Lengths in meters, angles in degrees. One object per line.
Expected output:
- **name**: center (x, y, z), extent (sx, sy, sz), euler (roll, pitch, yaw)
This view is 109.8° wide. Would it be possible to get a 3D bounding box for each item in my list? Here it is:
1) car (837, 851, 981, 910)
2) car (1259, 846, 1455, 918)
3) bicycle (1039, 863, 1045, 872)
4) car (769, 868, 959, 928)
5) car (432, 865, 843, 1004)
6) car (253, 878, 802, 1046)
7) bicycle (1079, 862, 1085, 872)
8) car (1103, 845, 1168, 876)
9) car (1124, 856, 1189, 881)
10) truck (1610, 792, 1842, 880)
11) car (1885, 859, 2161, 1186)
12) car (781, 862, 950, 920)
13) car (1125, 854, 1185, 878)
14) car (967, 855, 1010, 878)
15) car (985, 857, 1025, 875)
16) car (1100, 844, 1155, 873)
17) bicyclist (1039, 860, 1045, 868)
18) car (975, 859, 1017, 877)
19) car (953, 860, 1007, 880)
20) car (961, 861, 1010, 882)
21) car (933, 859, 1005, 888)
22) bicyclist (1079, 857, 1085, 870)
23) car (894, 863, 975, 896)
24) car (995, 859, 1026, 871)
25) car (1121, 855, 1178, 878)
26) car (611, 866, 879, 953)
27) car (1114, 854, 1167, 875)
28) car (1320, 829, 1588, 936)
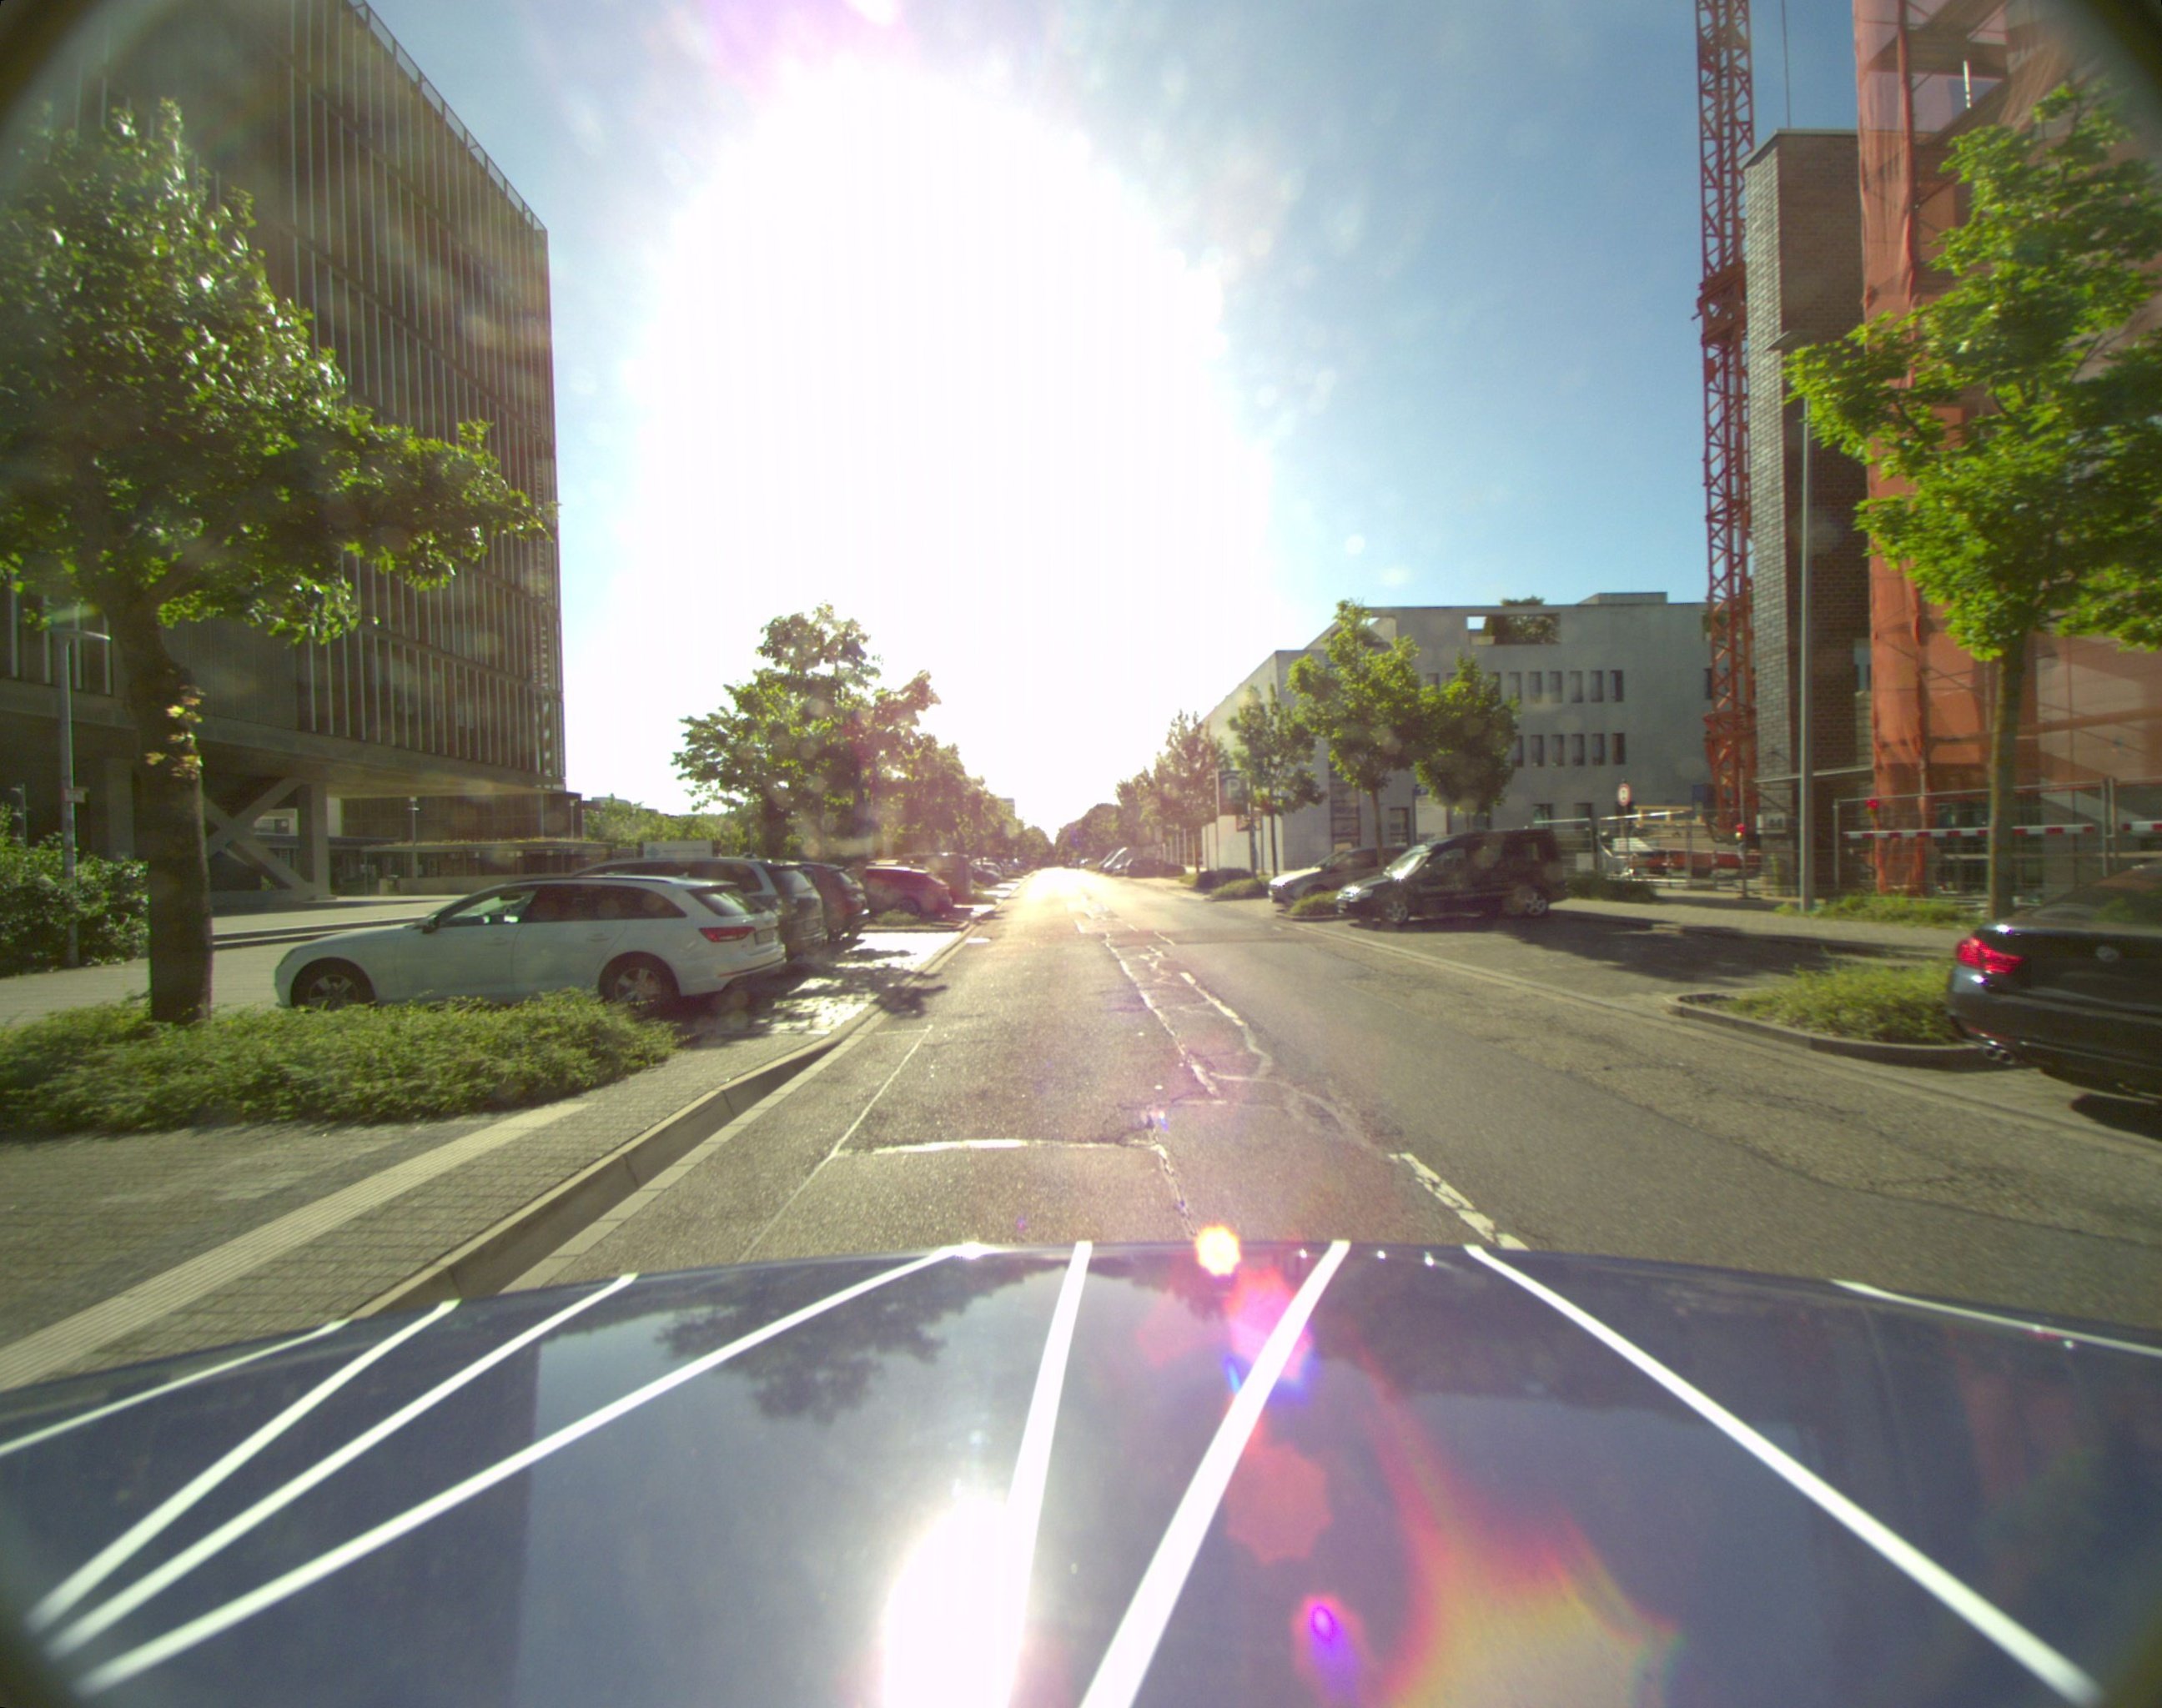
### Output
- **car**: center (-5.734, 0.860, 25.759), extent (4.414, 1.881, 2.074), euler (-1, 0, -2)
- **car**: center (7.090, 0.693, 19.795), extent (4.396, 1.505, 1.693), euler (-4, 0, 0)
- **bicycle**: center (-5.477, 1.827, 106.769), extent (0.792, 1.215, 2.262), euler (-1, 0, -1)
- **car**: center (-5.548, 1.111, 19.935), extent (4.414, 1.401, 2.074), euler (-1, 0, -2)
- **car**: center (-5.819, 1.008, 10.498), extent (4.414, 1.631, 2.074), euler (-1, 0, -2)
- **car**: center (-5.551, 1.046, 8.132), extent (4.414, 1.454, 1.895), euler (-1, 0, -2)
- **bicycle**: center (0.128, 1.668, 99.585), extent (0.792, 1.215, 2.262), euler (-1, 0, -1)
- **car**: center (4.928, 0.574, 69.098), extent (5.584, 2.468, 2.010), euler (-4, 0, 0)
- **car**: center (5.395, 1.018, 54.603), extent (4.316, 1.505, 1.718), euler (-4, 0, -3)
- **truck**: center (21.431, -0.580, 25.439), extent (5.857, 2.715, 2.269), euler (-1, 0, 0)
- **car**: center (7.284, 0.725, 3.933), extent (4.398, 1.423, 1.976), euler (-4, 0, -6)
- **car**: center (-6.254, 1.061, 22.470), extent (4.414, 1.548, 2.074), euler (-1, 0, -2)
- **car**: center (5.721, 0.900, 59.183), extent (4.316, 1.574, 1.693), euler (-4, 0, -3)
- **car**: center (-7.670, 1.019, 63.260), extent (3.391, 1.877, 1.696), euler (-1, 0, -3)
- **car**: center (-7.294, 1.107, 72.777), extent (3.718, 1.662, 1.676), euler (-1, 0, -3)
- **car**: center (4.886, 0.463, 80.999), extent (5.584, 2.622, 2.010), euler (-4, 0, 0)
- **bicyclist**: center (-5.481, 1.393, 106.769), extent (0.792, 1.215, 1.063), euler (-1, 0, -1)
- **car**: center (-7.800, 1.281, 70.142), extent (3.718, 1.516, 1.676), euler (-1, 0, -3)
- **car**: center (-7.419, 1.152, 55.964), extent (3.762, 1.417, 1.731), euler (-1, 0, -3)
- **car**: center (-7.569, 1.364, 60.434), extent (3.718, 1.557, 1.676), euler (-1, 0, -3)
- **car**: center (-6.412, 1.096, 43.935), extent (3.962, 1.591, 1.675), euler (-1, 0, -4)
- **bicyclist**: center (0.121, 1.302, 99.706), extent (0.792, 1.696, 1.104), euler (-1, 0, -1)
- **car**: center (-7.061, 1.208, 36.842), extent (3.719, 1.505, 1.734), euler (-1, 0, -7)
- **car**: center (-8.610, 1.392, 93.498), extent (3.718, 1.417, 1.676), euler (-1, 0, -3)
- **car**: center (5.548, 1.005, 61.504), extent (4.316, 1.505, 1.693), euler (-4, 0, -3)
- **car**: center (-6.429, 1.032, 14.956), extent (4.414, 1.527, 1.876), euler (-1, 0, -2)
- **car**: center (5.139, 0.922, 65.758), extent (4.316, 1.505, 1.693), euler (-4, 0, -3)
- **car**: center (7.364, 0.535, 15.302), extent (4.397, 1.735, 1.847), euler (-4, 0, -1)
